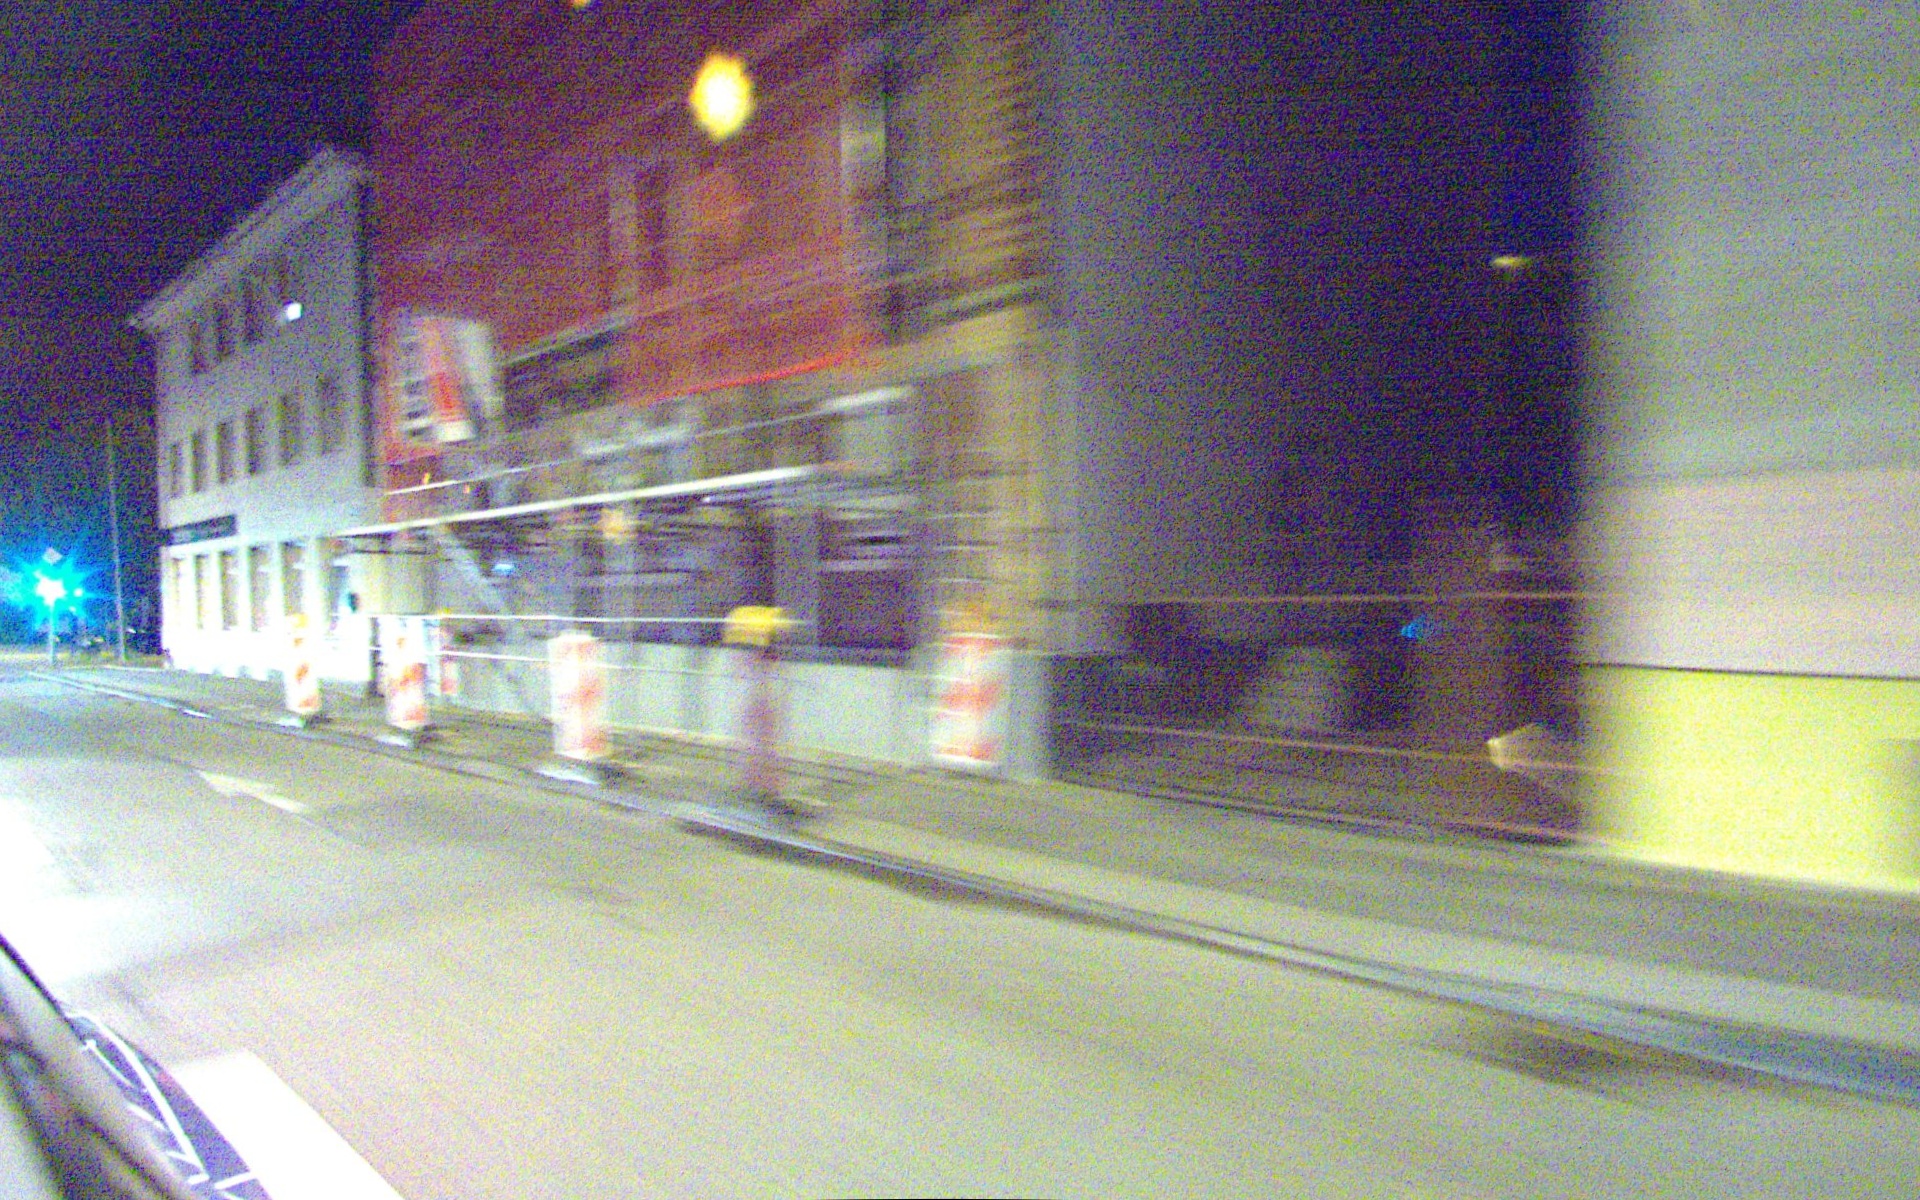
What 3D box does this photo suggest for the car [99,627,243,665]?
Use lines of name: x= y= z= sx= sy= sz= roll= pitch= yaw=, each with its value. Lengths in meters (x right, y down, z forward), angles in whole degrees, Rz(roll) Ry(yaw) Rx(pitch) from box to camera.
car: x=-31.363 y=1.802 z=40.258 sx=4.677 sy=1.435 sz=1.887 roll=0 pitch=-1 yaw=10

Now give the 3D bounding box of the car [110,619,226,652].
car: x=-42.892 y=1.864 z=54.879 sx=2.001 sy=1.641 sz=4.614 roll=0 pitch=0 yaw=39

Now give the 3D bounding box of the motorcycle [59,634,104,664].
motorcycle: x=-35.195 y=1.949 z=40.533 sx=2.020 sy=1.188 sz=0.569 roll=-1 pitch=-1 yaw=24
